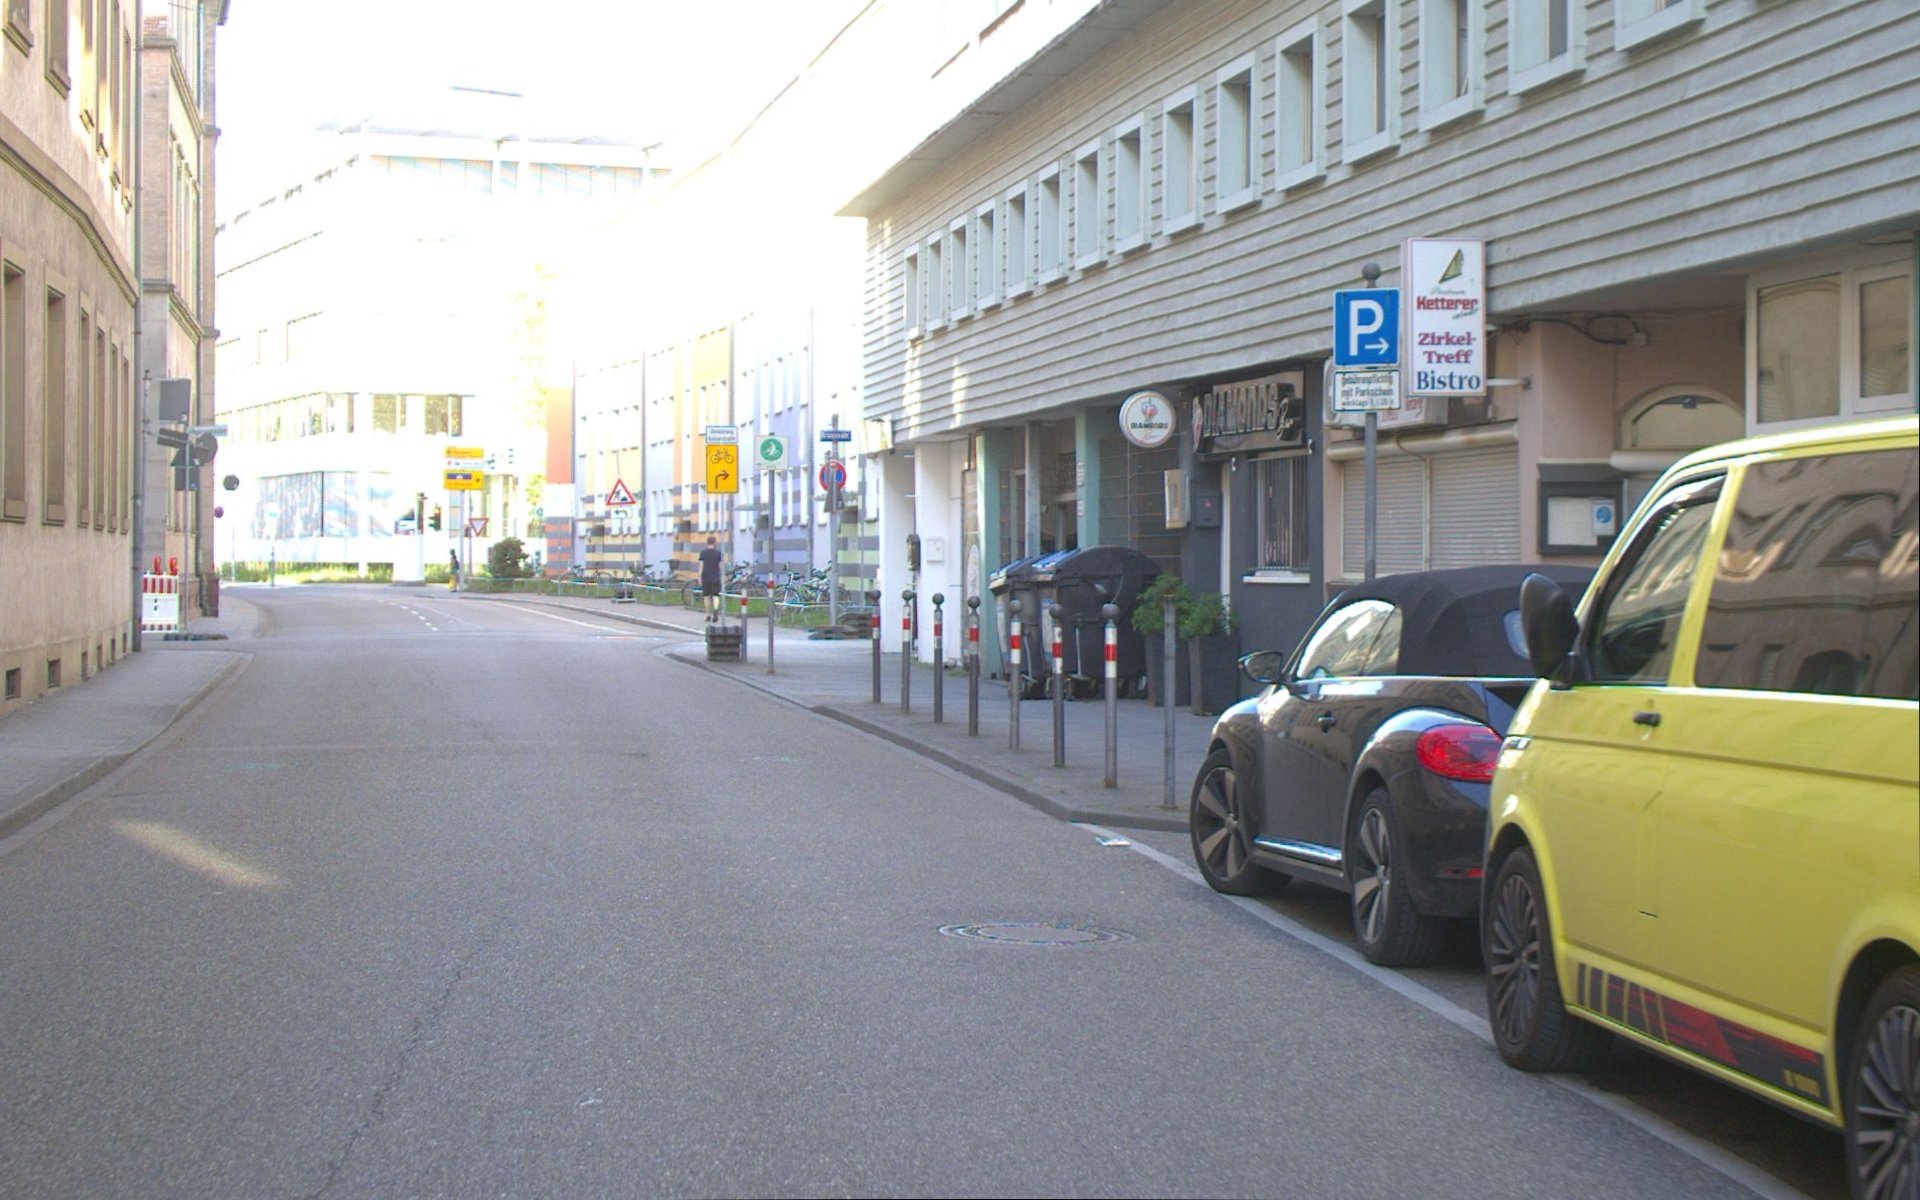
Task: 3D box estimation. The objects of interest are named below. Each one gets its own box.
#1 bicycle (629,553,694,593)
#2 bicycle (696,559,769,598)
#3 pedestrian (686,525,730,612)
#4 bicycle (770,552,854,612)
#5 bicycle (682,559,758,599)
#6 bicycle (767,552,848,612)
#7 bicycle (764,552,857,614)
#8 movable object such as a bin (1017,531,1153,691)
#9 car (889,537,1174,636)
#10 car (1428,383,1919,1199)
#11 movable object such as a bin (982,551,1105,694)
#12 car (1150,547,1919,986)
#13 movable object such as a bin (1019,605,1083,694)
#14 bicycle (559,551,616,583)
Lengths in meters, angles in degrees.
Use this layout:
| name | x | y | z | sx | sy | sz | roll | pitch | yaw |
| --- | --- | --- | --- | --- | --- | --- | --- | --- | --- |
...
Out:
| name | x | y | z | sx | sy | sz | roll | pitch | yaw |
| --- | --- | --- | --- | --- | --- | --- | --- | --- | --- |
| bicycle | -8.577 | -0.780 | 98.695 | 1.810 | 1.133 | 0.552 | 0 | 0 | -13 |
| bicycle | -5.554 | -0.528 | 83.992 | 1.748 | 0.943 | 0.326 | -1 | 0 | -10 |
| pedestrian | -5.225 | -0.661 | 71.258 | 0.696 | 1.754 | 1.189 | -2 | 1 | -11 |
| bicycle | -3.008 | -0.374 | 69.902 | 1.640 | 1.137 | 0.283 | -3 | 2 | -19 |
| bicycle | -5.731 | -0.500 | 82.134 | 1.748 | 0.943 | 0.552 | -1 | 0 | -11 |
| bicycle | -3.110 | -0.375 | 70.160 | 1.602 | 1.137 | 0.237 | -3 | 2 | -19 |
| bicycle | -2.980 | -0.341 | 68.529 | 1.748 | 1.137 | 0.552 | -3 | 2 | -11 |
| movable object such as a bin | 1.180 | 0.114 | 32.832 | 0.981 | 1.475 | 1.551 | -1 | -1 | -9 |
| car | 1.074 | -0.212 | 52.740 | 4.077 | 1.477 | 1.866 | 0 | 1 | -11 |
| car | 2.716 | 0.483 | 8.630 | 1.883 | 1.875 | 4.846 | 1 | 1 | -6 |
| movable object such as a bin | 0.824 | 0.236 | 34.369 | 0.981 | 1.380 | 1.321 | -1 | -1 | -9 |
| car | 2.166 | 0.556 | 14.124 | 1.883 | 1.484 | 4.369 | 1 | 1 | -9 |
| movable object such as a bin | 0.937 | 0.514 | 35.365 | 0.556 | 0.896 | 0.523 | -1 | -1 | -9 |
| bicycle | -12.162 | -1.074 | 112.376 | 1.753 | 1.000 | 0.613 | -1 | 1 | -16 |
